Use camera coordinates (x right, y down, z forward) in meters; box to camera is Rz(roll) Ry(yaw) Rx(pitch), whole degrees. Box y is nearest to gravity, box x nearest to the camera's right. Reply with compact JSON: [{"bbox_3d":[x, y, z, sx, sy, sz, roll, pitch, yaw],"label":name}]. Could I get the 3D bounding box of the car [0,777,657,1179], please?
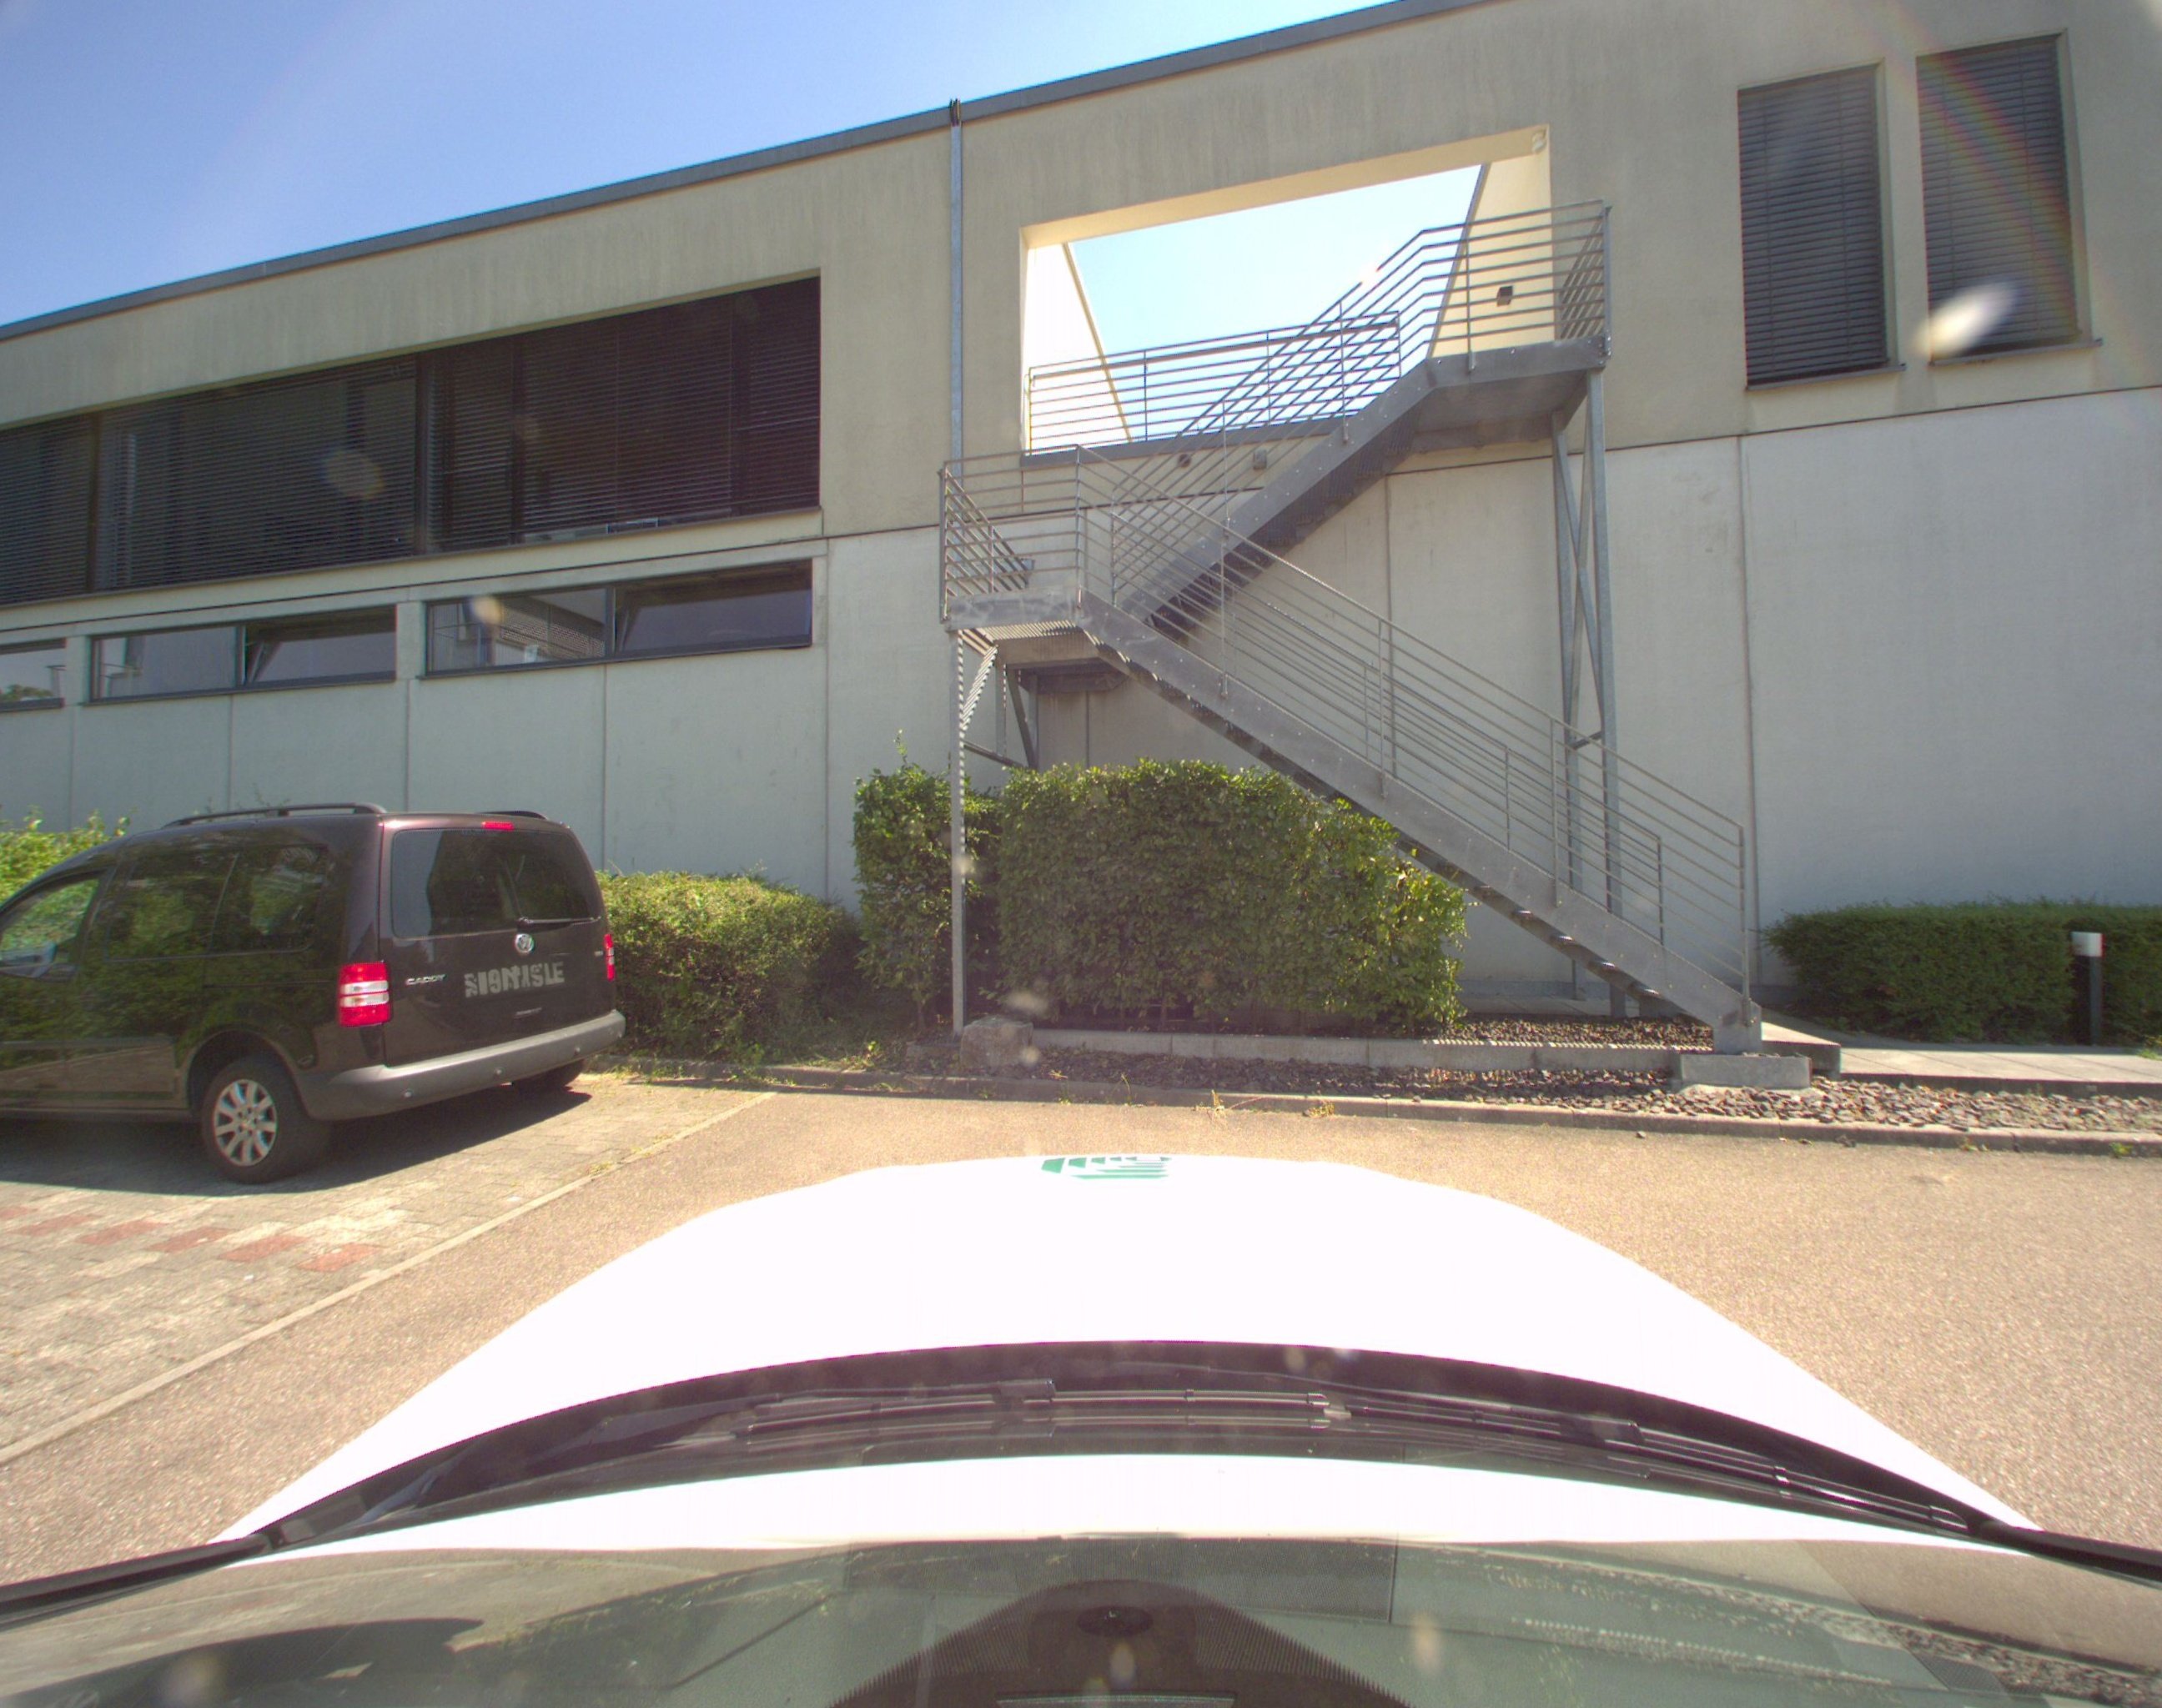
[{"bbox_3d":[-5.016,0.623,5.098,4.029,1.884,1.685,-1,-1,13],"label":"car"}]
